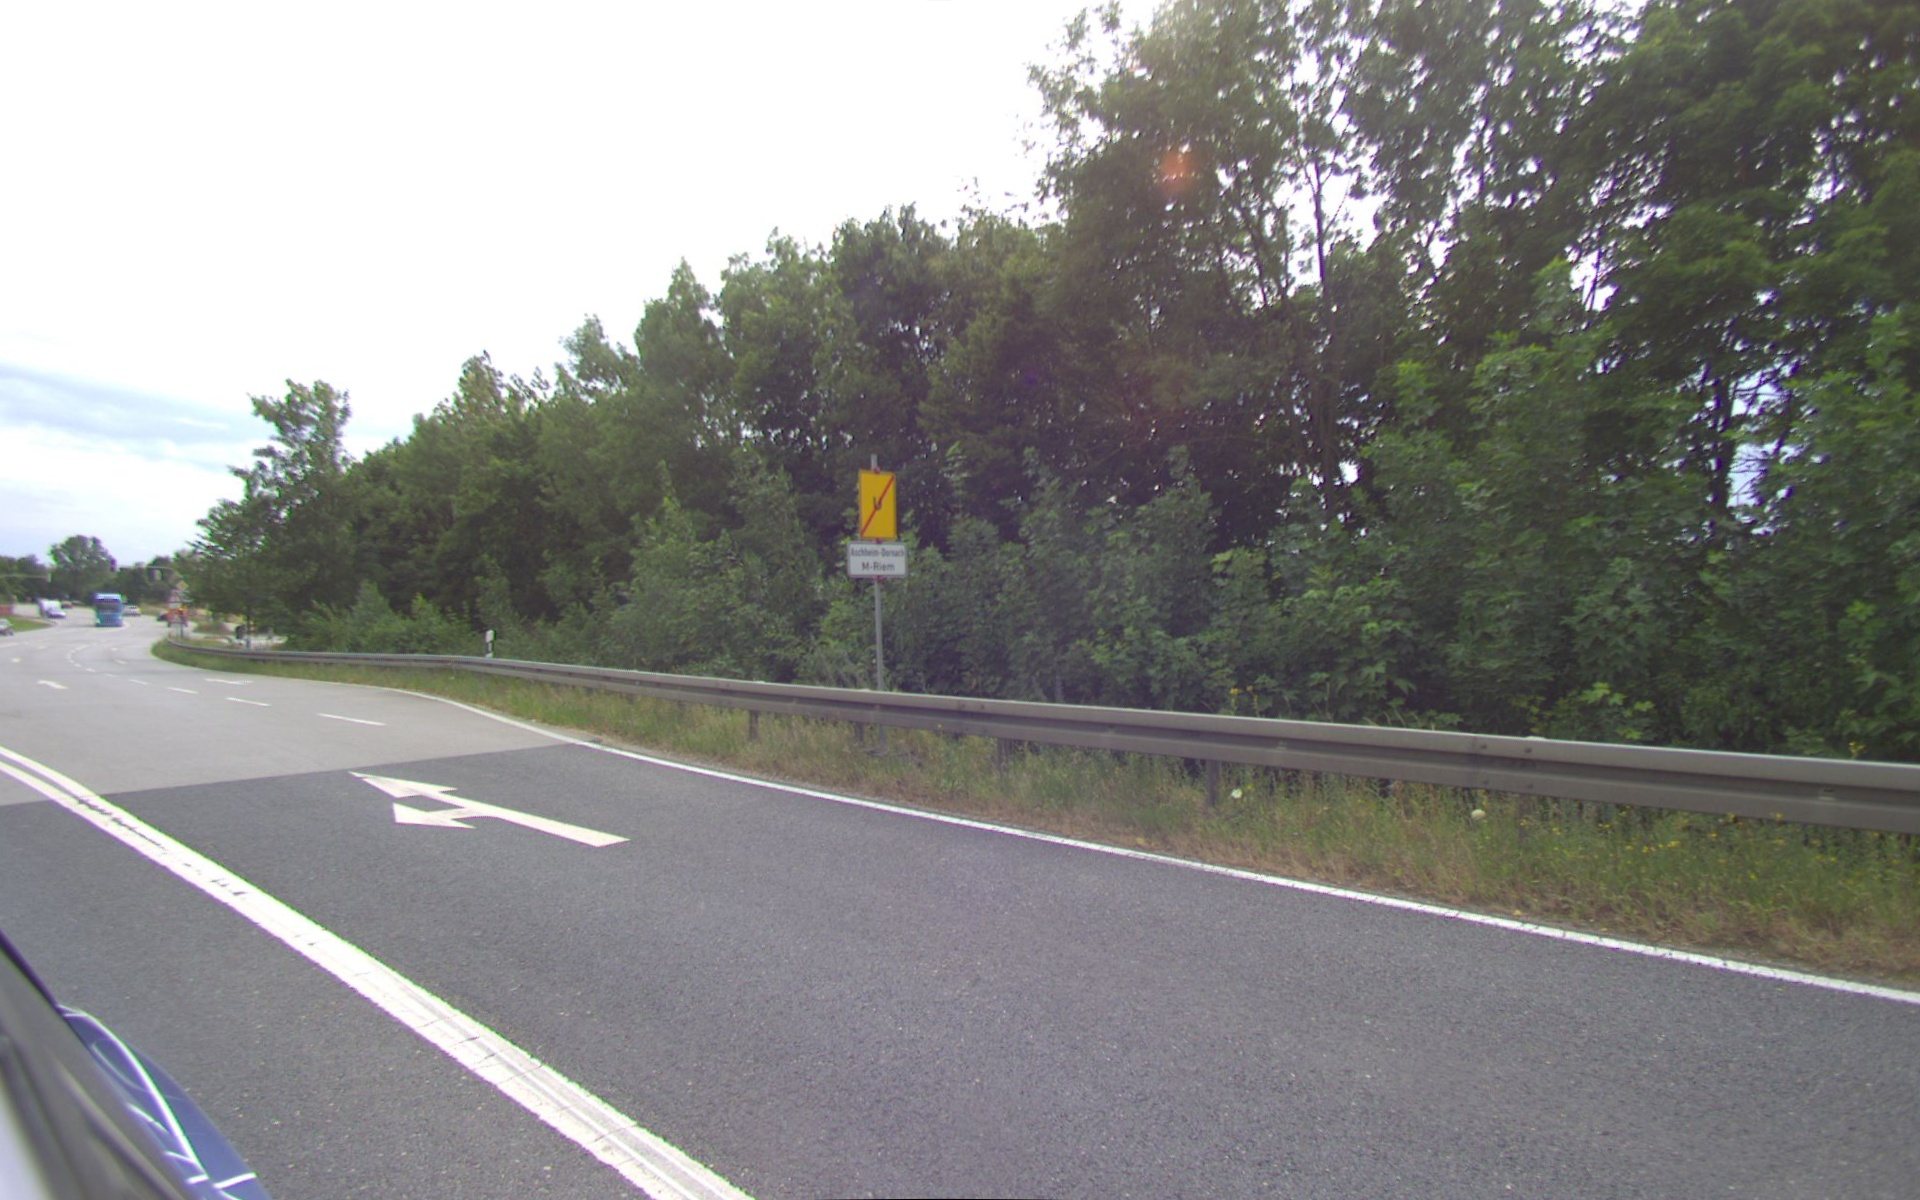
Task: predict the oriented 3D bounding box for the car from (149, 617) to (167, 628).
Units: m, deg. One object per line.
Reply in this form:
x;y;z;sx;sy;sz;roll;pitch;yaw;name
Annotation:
-118.078;3.280;148.987;1.892;1.582;4.005;4;-3;-42;car

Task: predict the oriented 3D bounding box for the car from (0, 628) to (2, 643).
-82.925;2.964;86.188;1.719;1.335;4.005;6;-5;-42;car

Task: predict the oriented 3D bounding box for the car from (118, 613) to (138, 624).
-139.225;3.093;169.240;3.998;1.582;1.895;0;-3;41;car

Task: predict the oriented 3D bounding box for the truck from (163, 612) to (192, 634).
-96.671;2.910;125.001;2.288;2.621;6.031;4;-4;-41;truck

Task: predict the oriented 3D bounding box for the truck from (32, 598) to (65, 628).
-141.993;2.021;157.657;9.573;4.383;2.985;-1;-3;44;truck

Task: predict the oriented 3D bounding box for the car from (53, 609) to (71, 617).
-175.717;2.531;198.060;4.191;1.497;1.724;0;-2;36;car

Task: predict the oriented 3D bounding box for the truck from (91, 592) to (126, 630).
-106.625;1.409;126.772;2.981;4.383;9.587;4;-3;-40;truck
